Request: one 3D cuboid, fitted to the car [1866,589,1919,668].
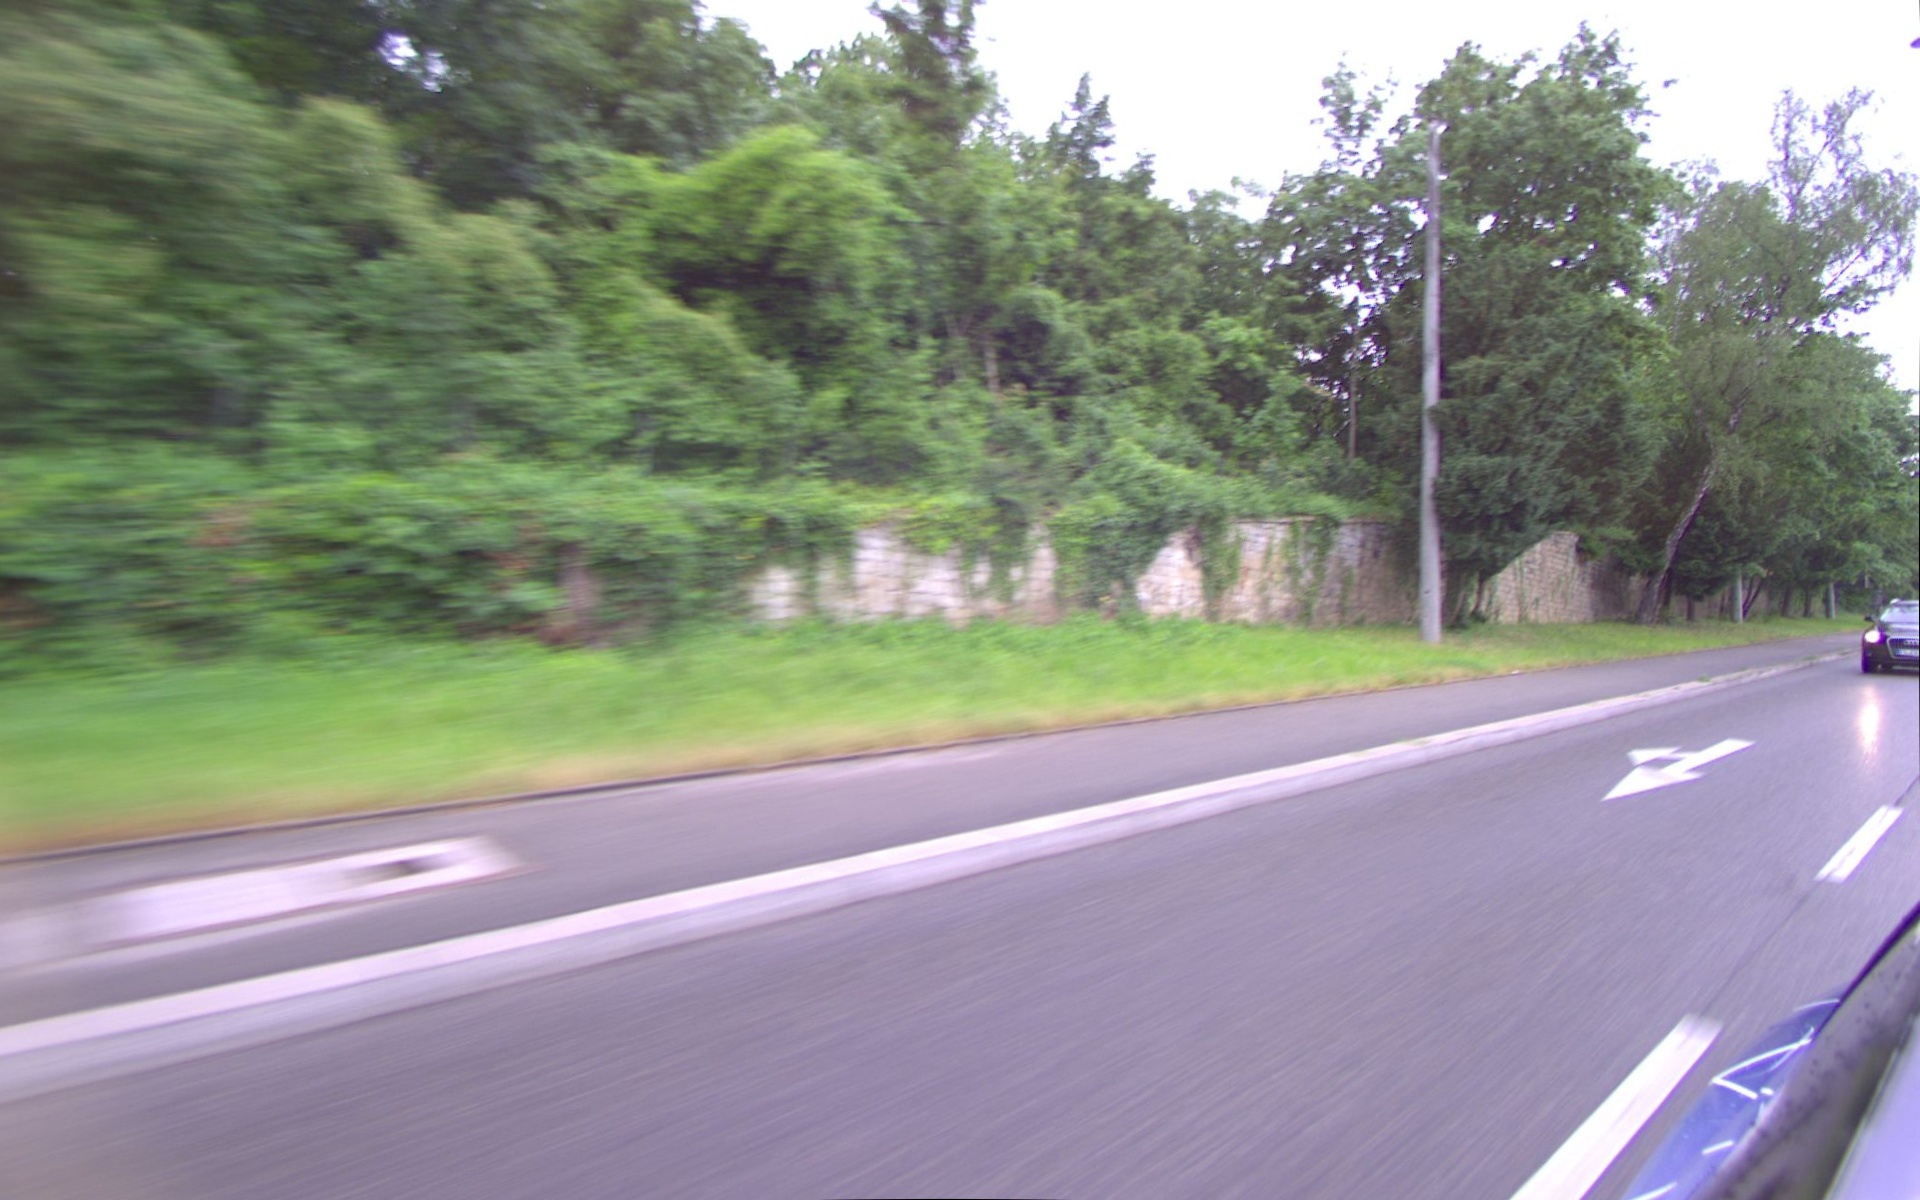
[{"bbox_3d":[21.487,0.586,22.120,4.203,1.621,1.927,0,1,-40],"label":"car"}]
